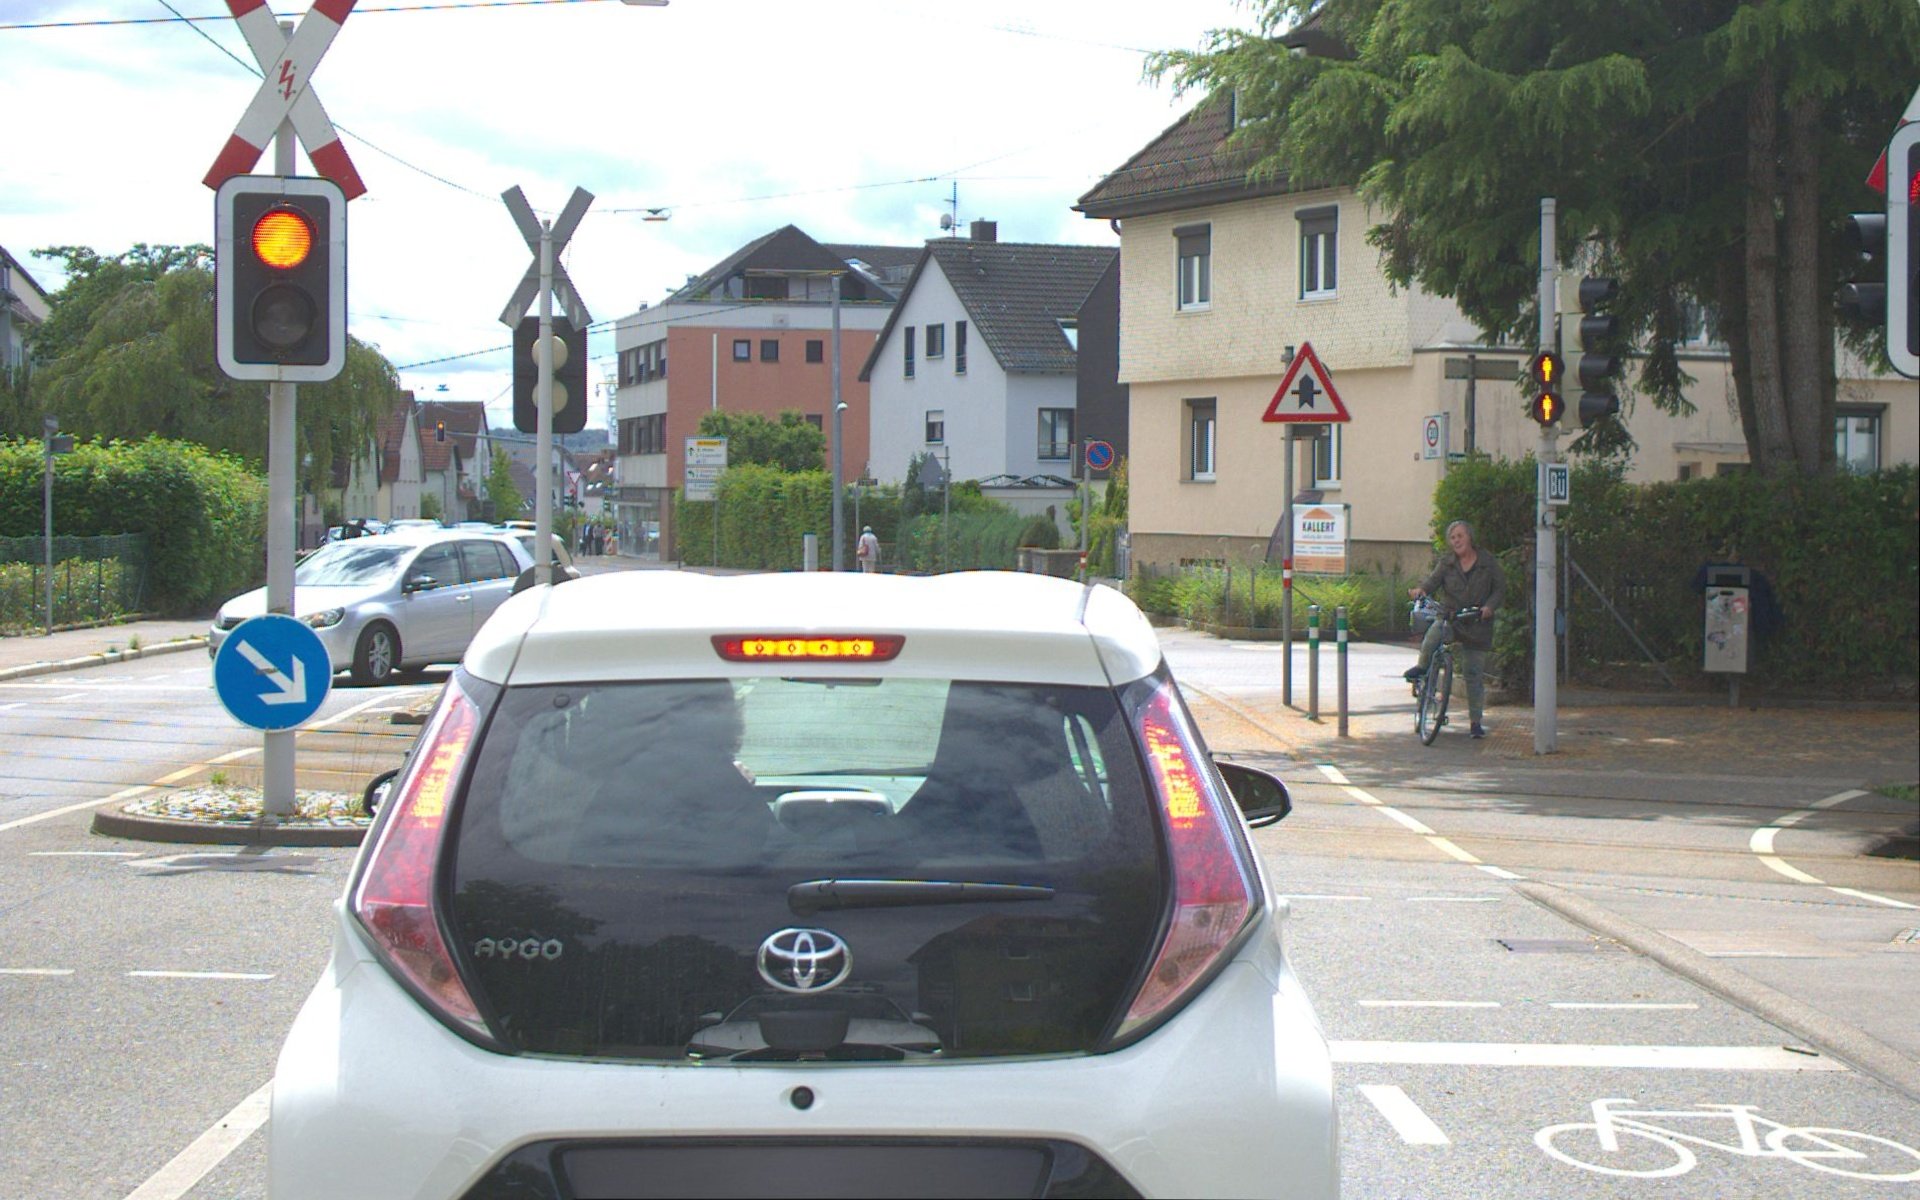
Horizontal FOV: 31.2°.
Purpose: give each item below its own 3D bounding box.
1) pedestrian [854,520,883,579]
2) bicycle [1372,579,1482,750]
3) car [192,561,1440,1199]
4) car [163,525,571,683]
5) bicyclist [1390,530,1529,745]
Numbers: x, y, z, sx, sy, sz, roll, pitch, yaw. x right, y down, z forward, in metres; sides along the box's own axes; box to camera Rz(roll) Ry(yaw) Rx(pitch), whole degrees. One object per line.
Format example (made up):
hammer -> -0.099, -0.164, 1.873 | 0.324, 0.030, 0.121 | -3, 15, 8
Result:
pedestrian -> -2.495, -1.368, 93.616 | 0.726, 1.571, 0.803 | 2, 1, 0
bicycle -> 3.545, 0.474, 26.164 | 0.457, 1.168, 1.480 | -2, 4, -6
car -> -0.322, 0.669, 6.628 | 1.721, 1.437, 3.709 | 1, 1, -4
car -> -5.871, 0.028, 34.515 | 1.908, 1.436, 4.092 | 2, 1, 28
bicyclist -> 3.792, 0.274, 26.142 | 0.840, 1.548, 0.756 | -2, 3, -6
